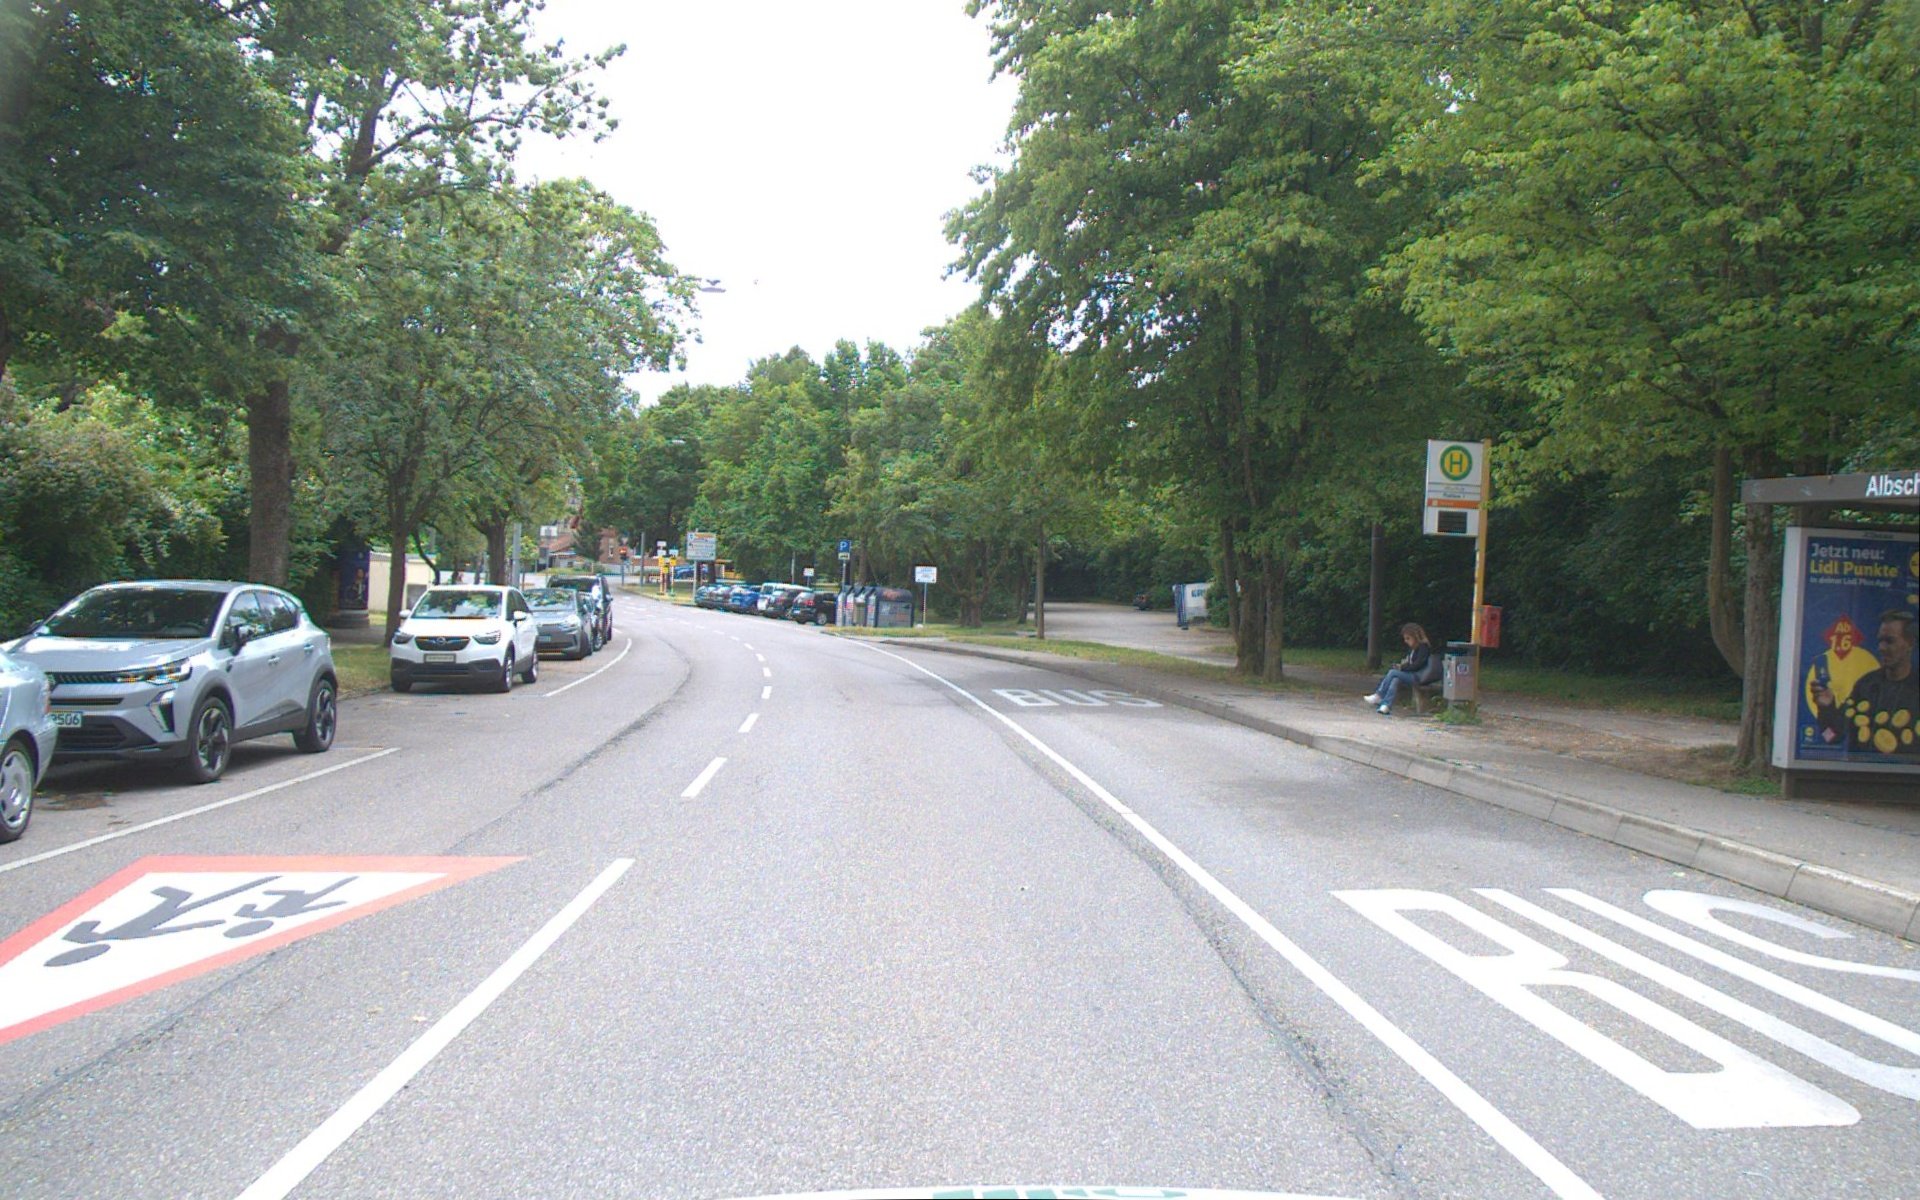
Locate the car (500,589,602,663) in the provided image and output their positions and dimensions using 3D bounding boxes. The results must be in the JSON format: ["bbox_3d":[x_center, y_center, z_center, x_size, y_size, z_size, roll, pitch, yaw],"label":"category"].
[{"bbox_3d":[-9.217,0.541,37.563,1.831,1.565,4.219,1,0,-9],"label":"car"}]

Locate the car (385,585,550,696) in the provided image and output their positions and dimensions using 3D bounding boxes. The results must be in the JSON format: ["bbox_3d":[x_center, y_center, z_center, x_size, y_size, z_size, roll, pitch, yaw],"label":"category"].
[{"bbox_3d":[-7.634,0.580,25.994,1.702,1.606,4.136,0,0,-6],"label":"car"}]

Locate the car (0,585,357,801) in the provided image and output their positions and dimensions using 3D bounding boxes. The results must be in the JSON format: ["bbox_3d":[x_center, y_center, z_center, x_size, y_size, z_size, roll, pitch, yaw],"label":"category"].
[{"bbox_3d":[-6.686,0.667,14.127,1.701,1.565,4.187,0,0,-3],"label":"car"}]

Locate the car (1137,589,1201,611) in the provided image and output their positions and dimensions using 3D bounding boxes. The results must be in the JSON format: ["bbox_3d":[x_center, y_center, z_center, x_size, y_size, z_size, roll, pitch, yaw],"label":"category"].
[{"bbox_3d":[14.234,0.010,112.776,3.915,1.434,1.795,1,0,-11],"label":"car"}]

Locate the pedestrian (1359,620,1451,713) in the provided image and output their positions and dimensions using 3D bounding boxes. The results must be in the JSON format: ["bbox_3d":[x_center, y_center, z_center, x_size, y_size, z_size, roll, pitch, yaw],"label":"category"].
[{"bbox_3d":[5.956,0.887,22.159,1.043,1.203,0.579,1,0,-8],"label":"pedestrian"}]

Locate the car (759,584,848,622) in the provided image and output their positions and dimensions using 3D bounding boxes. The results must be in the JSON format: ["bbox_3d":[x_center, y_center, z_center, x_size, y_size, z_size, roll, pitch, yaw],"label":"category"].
[{"bbox_3d":[-7.392,0.153,78.360,3.789,1.493,1.725,5,0,-36],"label":"car"}]

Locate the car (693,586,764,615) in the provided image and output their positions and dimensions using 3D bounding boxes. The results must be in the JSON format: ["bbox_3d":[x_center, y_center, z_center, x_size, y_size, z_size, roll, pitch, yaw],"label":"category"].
[{"bbox_3d":[-13.664,0.016,97.665,3.789,1.450,1.724,5,-2,-36],"label":"car"}]

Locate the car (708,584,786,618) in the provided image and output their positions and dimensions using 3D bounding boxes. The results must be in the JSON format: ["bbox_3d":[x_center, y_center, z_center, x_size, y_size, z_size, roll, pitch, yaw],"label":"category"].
[{"bbox_3d":[-11.590,0.060,90.022,3.789,1.555,1.724,5,-2,-36],"label":"car"}]

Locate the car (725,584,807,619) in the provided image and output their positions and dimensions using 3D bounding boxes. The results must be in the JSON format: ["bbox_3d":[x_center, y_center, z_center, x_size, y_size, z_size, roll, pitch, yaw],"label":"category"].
[{"bbox_3d":[-10.008,0.081,85.367,3.789,1.555,1.724,5,-2,-36],"label":"car"}]

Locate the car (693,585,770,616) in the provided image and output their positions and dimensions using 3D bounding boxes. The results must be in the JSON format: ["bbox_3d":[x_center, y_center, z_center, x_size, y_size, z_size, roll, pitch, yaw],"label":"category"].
[{"bbox_3d":[-12.830,0.025,92.936,3.843,1.451,1.807,5,-2,-36],"label":"car"}]

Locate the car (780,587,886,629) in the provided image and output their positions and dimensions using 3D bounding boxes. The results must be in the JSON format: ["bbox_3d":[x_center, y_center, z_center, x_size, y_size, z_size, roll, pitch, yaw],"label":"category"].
[{"bbox_3d":[-5.373,0.350,70.260,3.955,1.438,2.032,5,0,-36],"label":"car"}]

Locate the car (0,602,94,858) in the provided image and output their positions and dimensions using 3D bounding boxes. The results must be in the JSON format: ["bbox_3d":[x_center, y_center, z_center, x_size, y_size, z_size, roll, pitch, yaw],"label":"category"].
[{"bbox_3d":[-6.177,0.747,8.470,1.703,1.441,4.463,0,0,-9],"label":"car"}]

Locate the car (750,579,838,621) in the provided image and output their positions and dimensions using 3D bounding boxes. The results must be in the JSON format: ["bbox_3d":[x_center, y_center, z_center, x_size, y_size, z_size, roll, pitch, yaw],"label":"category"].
[{"bbox_3d":[-8.119,0.007,81.001,3.789,1.750,1.854,5,-2,-36],"label":"car"}]

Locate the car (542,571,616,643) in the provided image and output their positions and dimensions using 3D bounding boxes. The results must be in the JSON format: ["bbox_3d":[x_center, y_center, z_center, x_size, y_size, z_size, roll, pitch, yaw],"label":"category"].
[{"bbox_3d":[-10.859,0.172,47.432,1.824,1.942,5.070,1,0,-11],"label":"car"}]

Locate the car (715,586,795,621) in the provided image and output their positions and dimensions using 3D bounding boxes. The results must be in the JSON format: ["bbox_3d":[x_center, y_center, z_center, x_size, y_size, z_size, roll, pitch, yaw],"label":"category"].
[{"bbox_3d":[-10.835,0.178,87.446,3.789,1.555,1.724,5,-2,-36],"label":"car"}]
